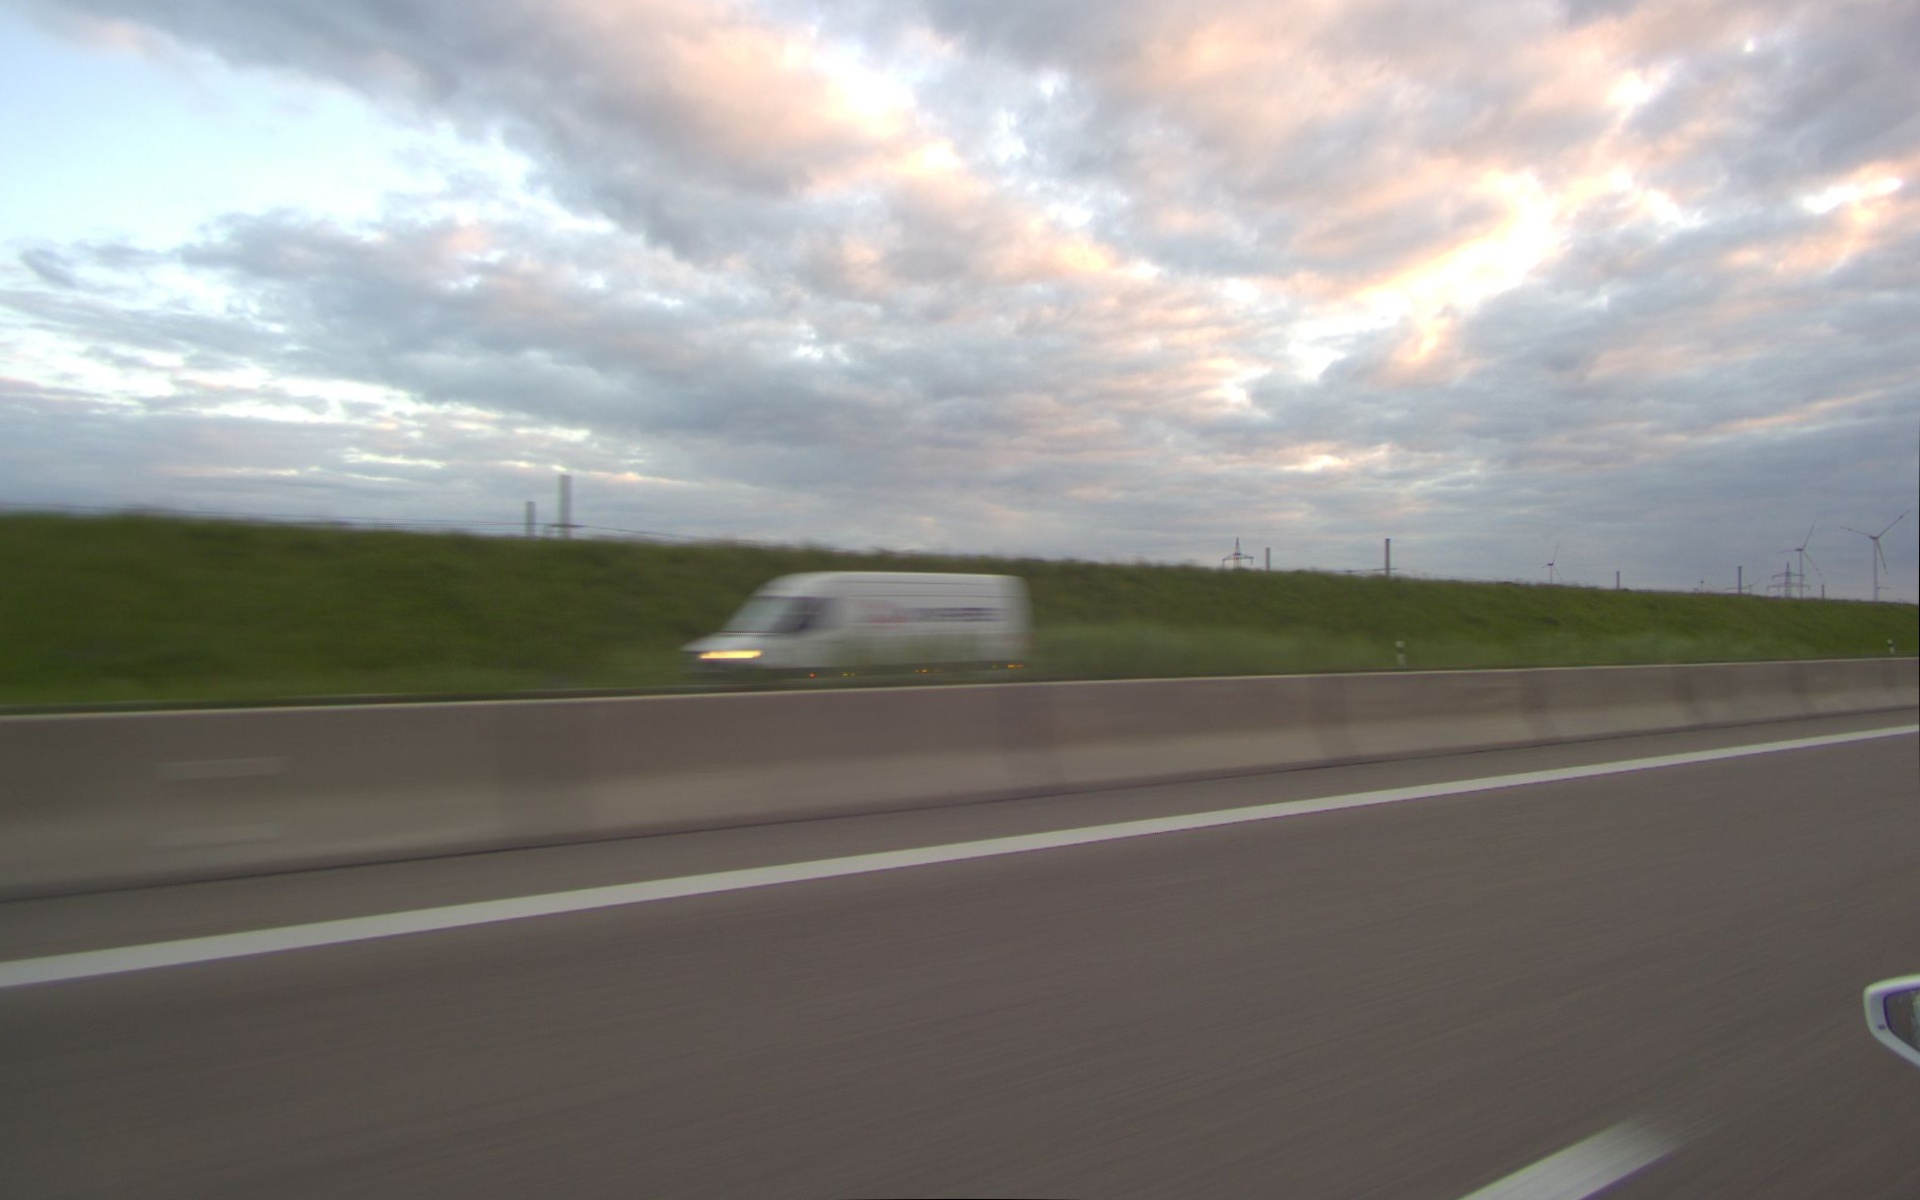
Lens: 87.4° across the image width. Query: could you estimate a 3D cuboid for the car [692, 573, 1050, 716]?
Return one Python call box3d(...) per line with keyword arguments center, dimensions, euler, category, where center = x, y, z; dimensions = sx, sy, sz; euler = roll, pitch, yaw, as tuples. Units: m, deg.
box3d(center=(-1.650, 0.896, 20.813), dimensions=(7.293, 2.580, 1.984), euler=(1, -2, -31), category="car")
